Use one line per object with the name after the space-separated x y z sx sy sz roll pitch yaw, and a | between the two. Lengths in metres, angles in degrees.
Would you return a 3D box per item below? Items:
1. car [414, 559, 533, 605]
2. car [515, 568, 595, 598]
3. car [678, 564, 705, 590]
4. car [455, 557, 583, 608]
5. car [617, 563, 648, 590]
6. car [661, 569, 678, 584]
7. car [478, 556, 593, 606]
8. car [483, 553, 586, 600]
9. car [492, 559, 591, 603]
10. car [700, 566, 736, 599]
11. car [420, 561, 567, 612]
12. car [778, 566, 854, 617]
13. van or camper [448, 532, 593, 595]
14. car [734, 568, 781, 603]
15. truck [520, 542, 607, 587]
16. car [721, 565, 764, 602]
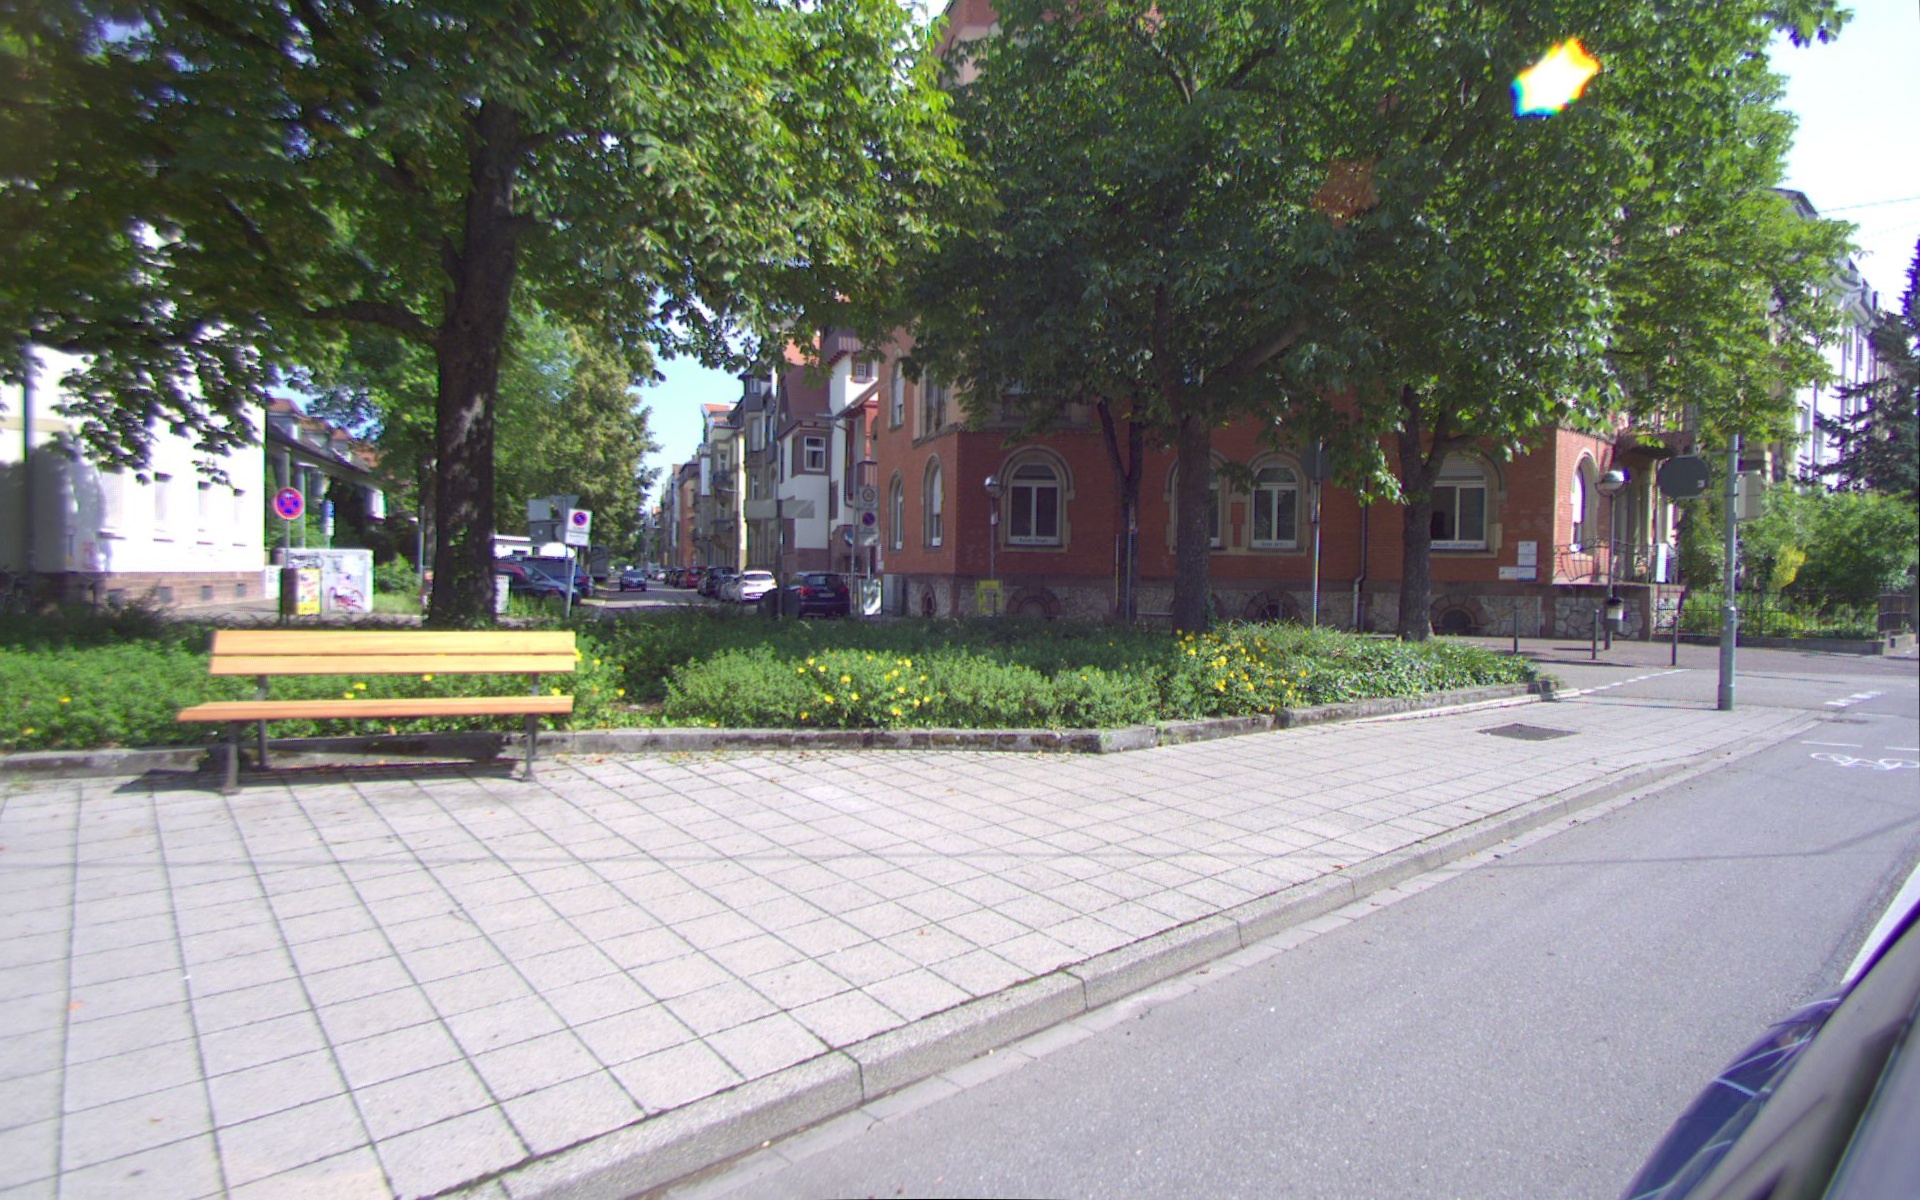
-15.600 -0.571 32.611 3.342 1.440 1.566 0 1 -22 | car
-19.970 -0.831 50.018 3.588 1.415 1.537 0 1 -18 | car
-20.958 -1.763 78.884 1.702 1.950 3.949 -1 0 -19 | car
-15.449 -0.604 35.659 4.040 1.705 1.856 0 1 -22 | car
-22.581 -1.573 69.664 1.896 1.754 3.838 -1 0 -19 | car
-30.233 -2.463 105.205 1.534 1.600 3.264 0 1 -19 | car
-16.011 -0.720 38.401 3.916 1.816 1.983 0 1 -20 | car
-17.827 -0.978 42.575 3.916 1.883 1.852 0 1 -21 | car
-18.724 -0.838 45.473 3.916 1.905 2.005 0 1 -16 | car
-14.312 -1.044 59.721 1.690 1.860 3.676 0 1 -19 | car
-13.993 -0.399 30.558 3.916 1.460 1.807 0 1 -22 | car
-4.652 -0.300 32.257 1.896 1.504 4.009 0 1 -15 | car
-22.406 -1.819 51.902 6.690 3.076 2.127 0 1 -20 | van or camper
-9.115 -0.685 45.357 1.831 1.504 4.009 0 1 -15 | car
-27.289 -2.415 69.804 5.437 2.970 2.005 0 1 -18 | truck
-10.780 -0.843 49.979 1.689 1.727 4.009 0 2 -17 | car
